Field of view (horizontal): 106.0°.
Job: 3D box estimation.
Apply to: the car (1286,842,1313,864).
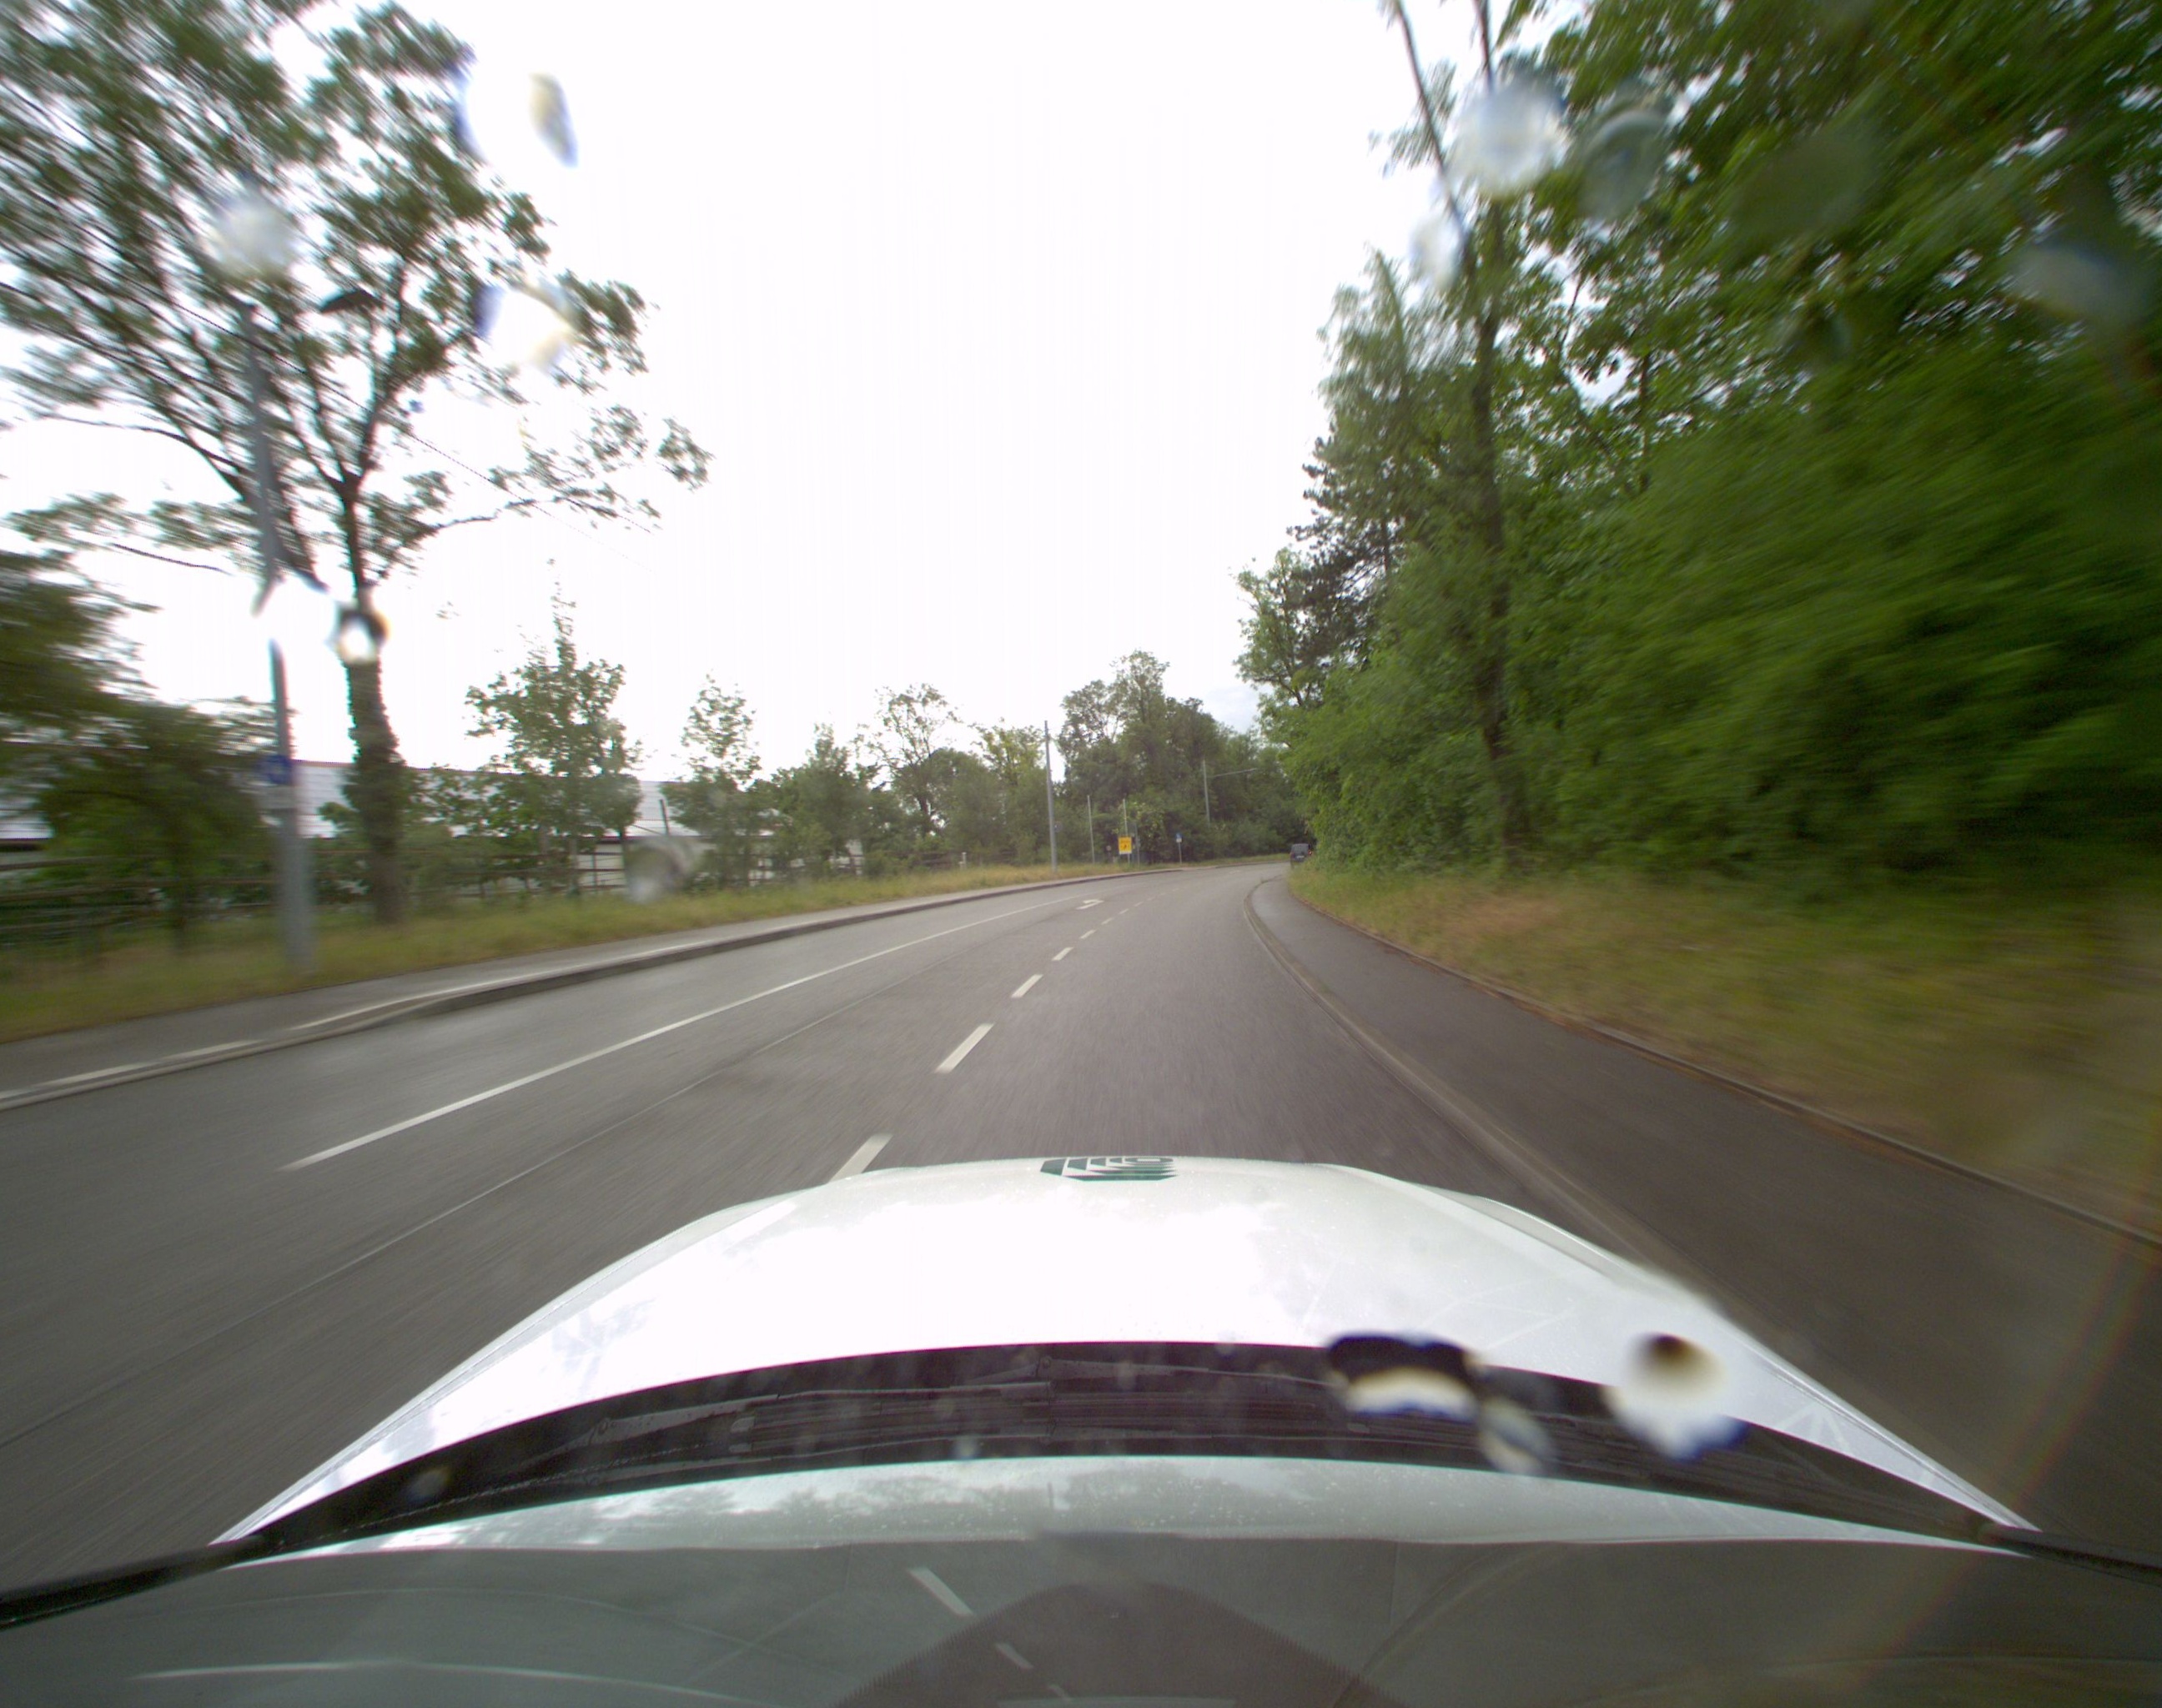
[{"bbox_3d":[16.554,-0.072,61.485,1.654,1.593,3.701,-1,0,19],"label":"car"}]
